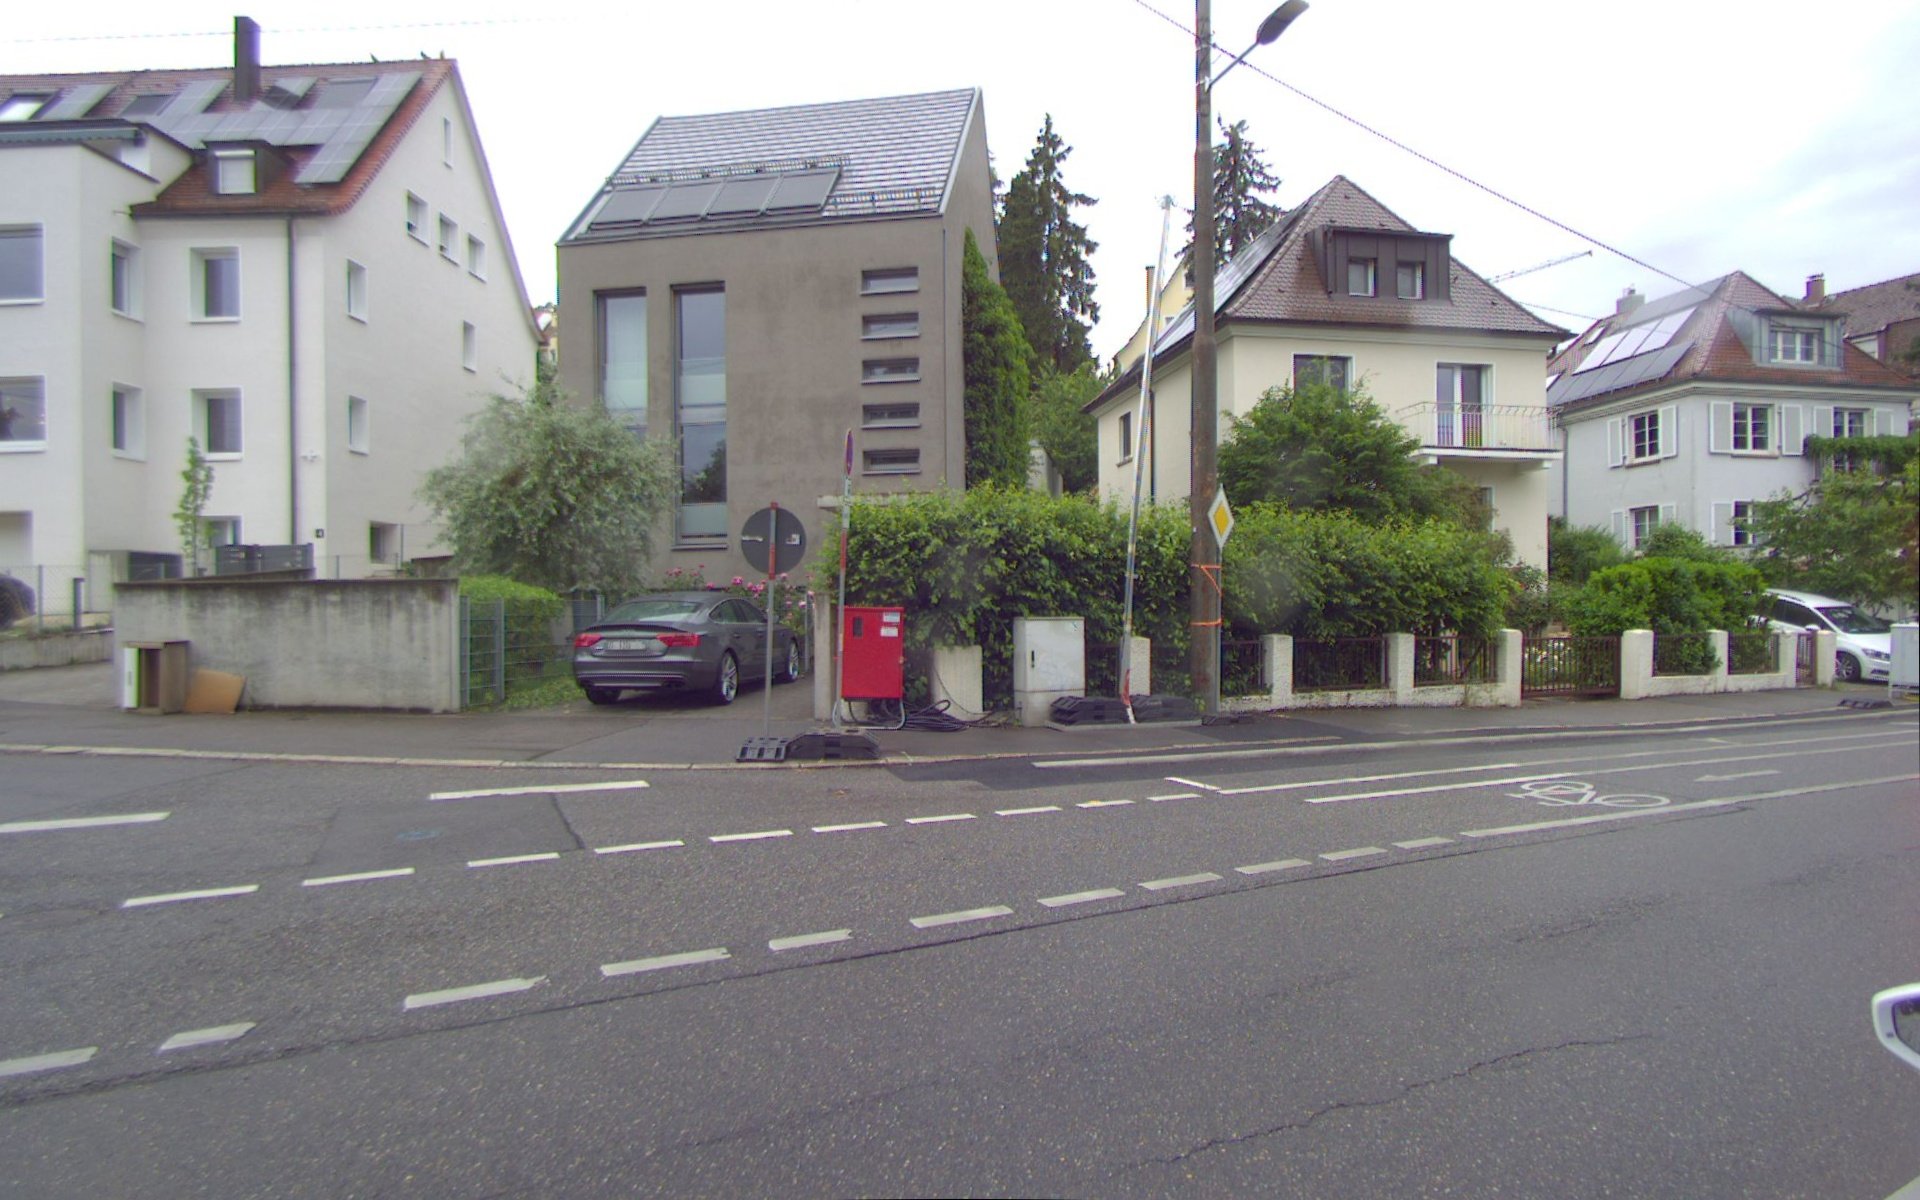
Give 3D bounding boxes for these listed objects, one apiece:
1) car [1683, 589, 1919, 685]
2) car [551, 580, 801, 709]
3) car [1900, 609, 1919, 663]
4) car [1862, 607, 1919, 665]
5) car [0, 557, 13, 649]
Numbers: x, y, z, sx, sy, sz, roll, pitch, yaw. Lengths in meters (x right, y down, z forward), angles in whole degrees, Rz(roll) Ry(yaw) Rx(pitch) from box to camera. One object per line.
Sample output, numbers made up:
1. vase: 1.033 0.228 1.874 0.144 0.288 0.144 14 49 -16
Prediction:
1. car: 19.614 0.815 23.582 1.801 2.040 3.984 1 0 -18
2. car: -3.593 0.515 13.538 1.802 1.463 4.002 0 0 7
3. car: 28.444 1.096 27.195 1.733 1.505 3.983 3 0 -19
4. car: 26.527 1.025 26.275 1.733 1.505 3.983 3 0 -19
5. car: -16.897 0.036 15.034 1.700 1.528 3.820 1 0 3
